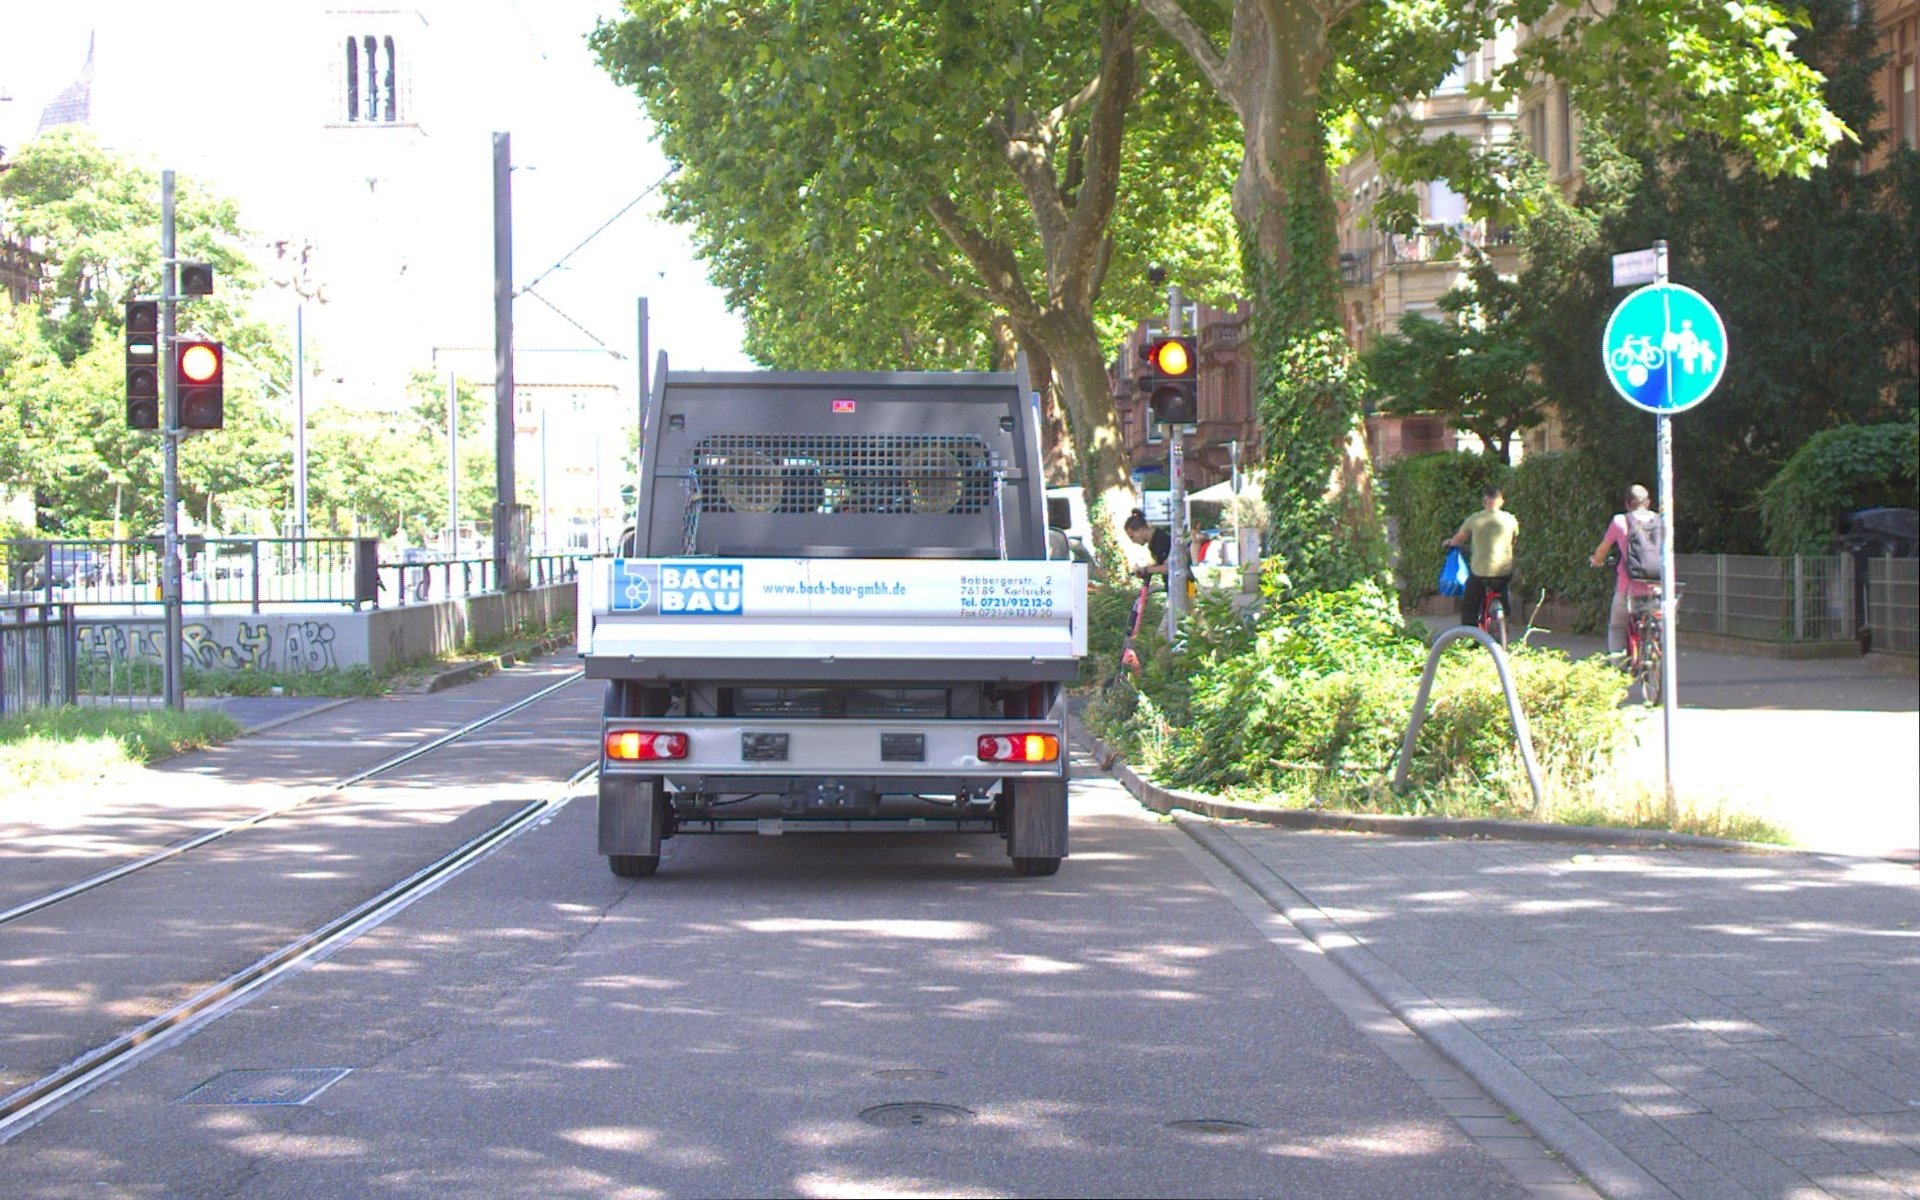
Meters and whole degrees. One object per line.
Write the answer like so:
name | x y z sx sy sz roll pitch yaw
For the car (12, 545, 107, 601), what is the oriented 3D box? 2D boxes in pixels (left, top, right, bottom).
car | -25.320 -0.773 96.786 1.770 1.493 4.001 -1 1 -3

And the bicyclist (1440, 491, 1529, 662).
bicyclist | 4.853 -0.221 31.817 0.680 1.558 0.777 -1 1 0

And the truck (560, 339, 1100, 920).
truck | -0.556 0.078 16.118 2.138 2.311 4.402 1 1 -1

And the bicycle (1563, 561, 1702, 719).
bicycle | 5.038 0.273 25.856 0.565 1.108 2.310 -1 1 0

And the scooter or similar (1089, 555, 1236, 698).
scooter or similar | 1.772 0.218 29.909 0.657 1.200 1.268 0 1 38

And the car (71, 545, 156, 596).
car | -25.724 -0.914 104.616 1.770 1.493 4.001 -1 1 -3

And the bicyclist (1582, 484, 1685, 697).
bicyclist | 5.028 -0.075 25.698 0.638 1.568 0.579 -1 1 0

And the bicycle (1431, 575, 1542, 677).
bicycle | 4.860 0.223 31.822 0.675 0.878 2.163 -1 1 0

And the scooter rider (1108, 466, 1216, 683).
scooter rider | 1.758 -0.225 29.899 0.663 1.860 0.667 0 1 38
